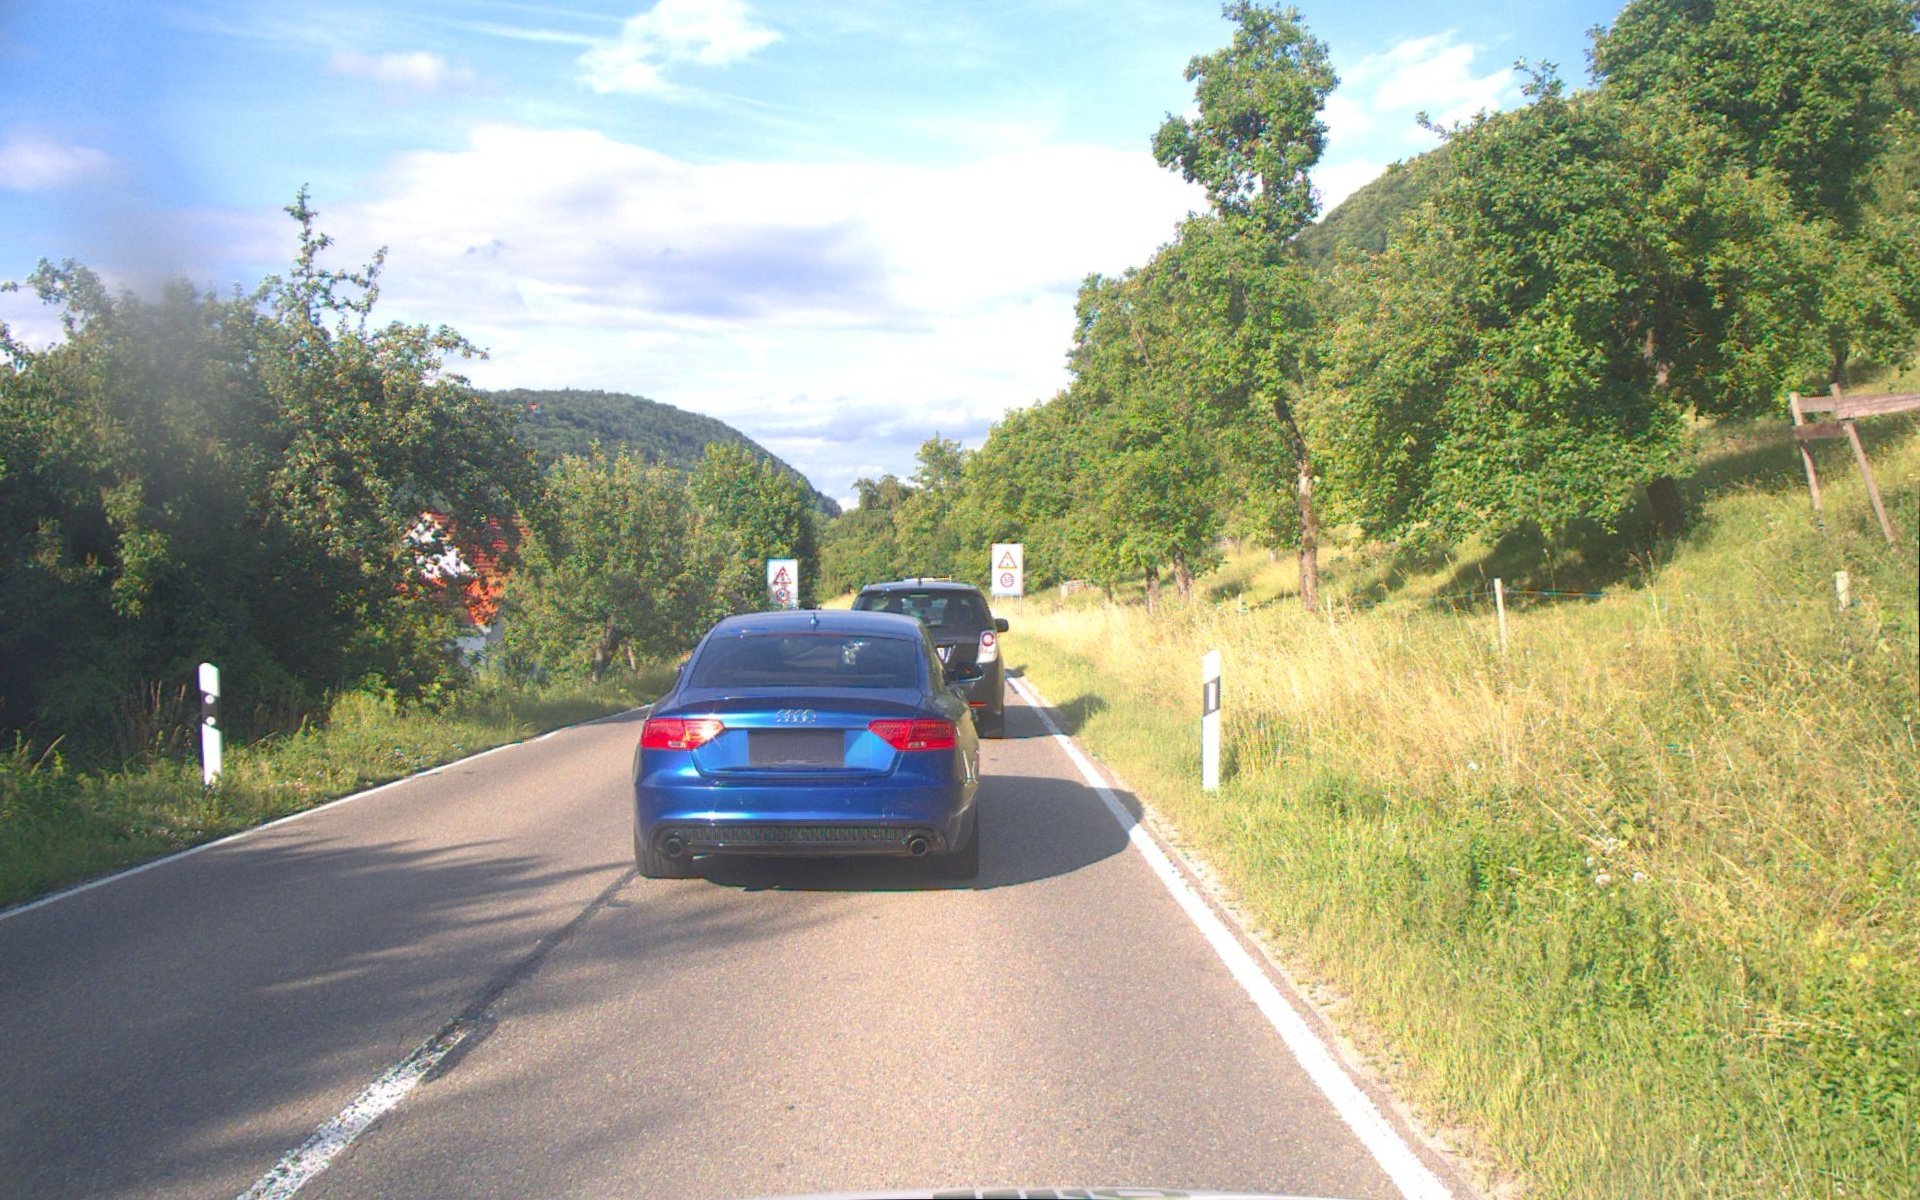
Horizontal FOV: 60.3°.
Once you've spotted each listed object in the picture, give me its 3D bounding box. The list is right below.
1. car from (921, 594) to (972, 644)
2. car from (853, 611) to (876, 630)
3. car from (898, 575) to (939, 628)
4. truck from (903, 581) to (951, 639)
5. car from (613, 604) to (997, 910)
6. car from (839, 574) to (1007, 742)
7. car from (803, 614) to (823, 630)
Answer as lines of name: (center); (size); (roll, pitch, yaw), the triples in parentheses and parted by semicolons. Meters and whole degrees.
car: (-0.466, 0.619, 56.050); (1.658, 1.652, 3.788); (0, 0, -1)
car: (-7.992, 1.710, 138.386); (1.530, 1.522, 3.770); (1, 0, -9)
car: (-2.052, 0.063, 80.771); (1.757, 2.496, 3.916); (1, 0, -4)
truck: (-1.429, 0.415, 71.021); (1.910, 2.386, 5.092); (1, 0, -2)
car: (-0.732, 0.733, 9.746); (1.769, 1.406, 4.214); (0, 0, -1)
car: (-0.395, 0.566, 18.187); (1.658, 1.652, 3.788); (0, 0, -1)
car: (-15.076, 2.276, 169.163); (1.532, 1.522, 3.765); (1, 0, -13)
